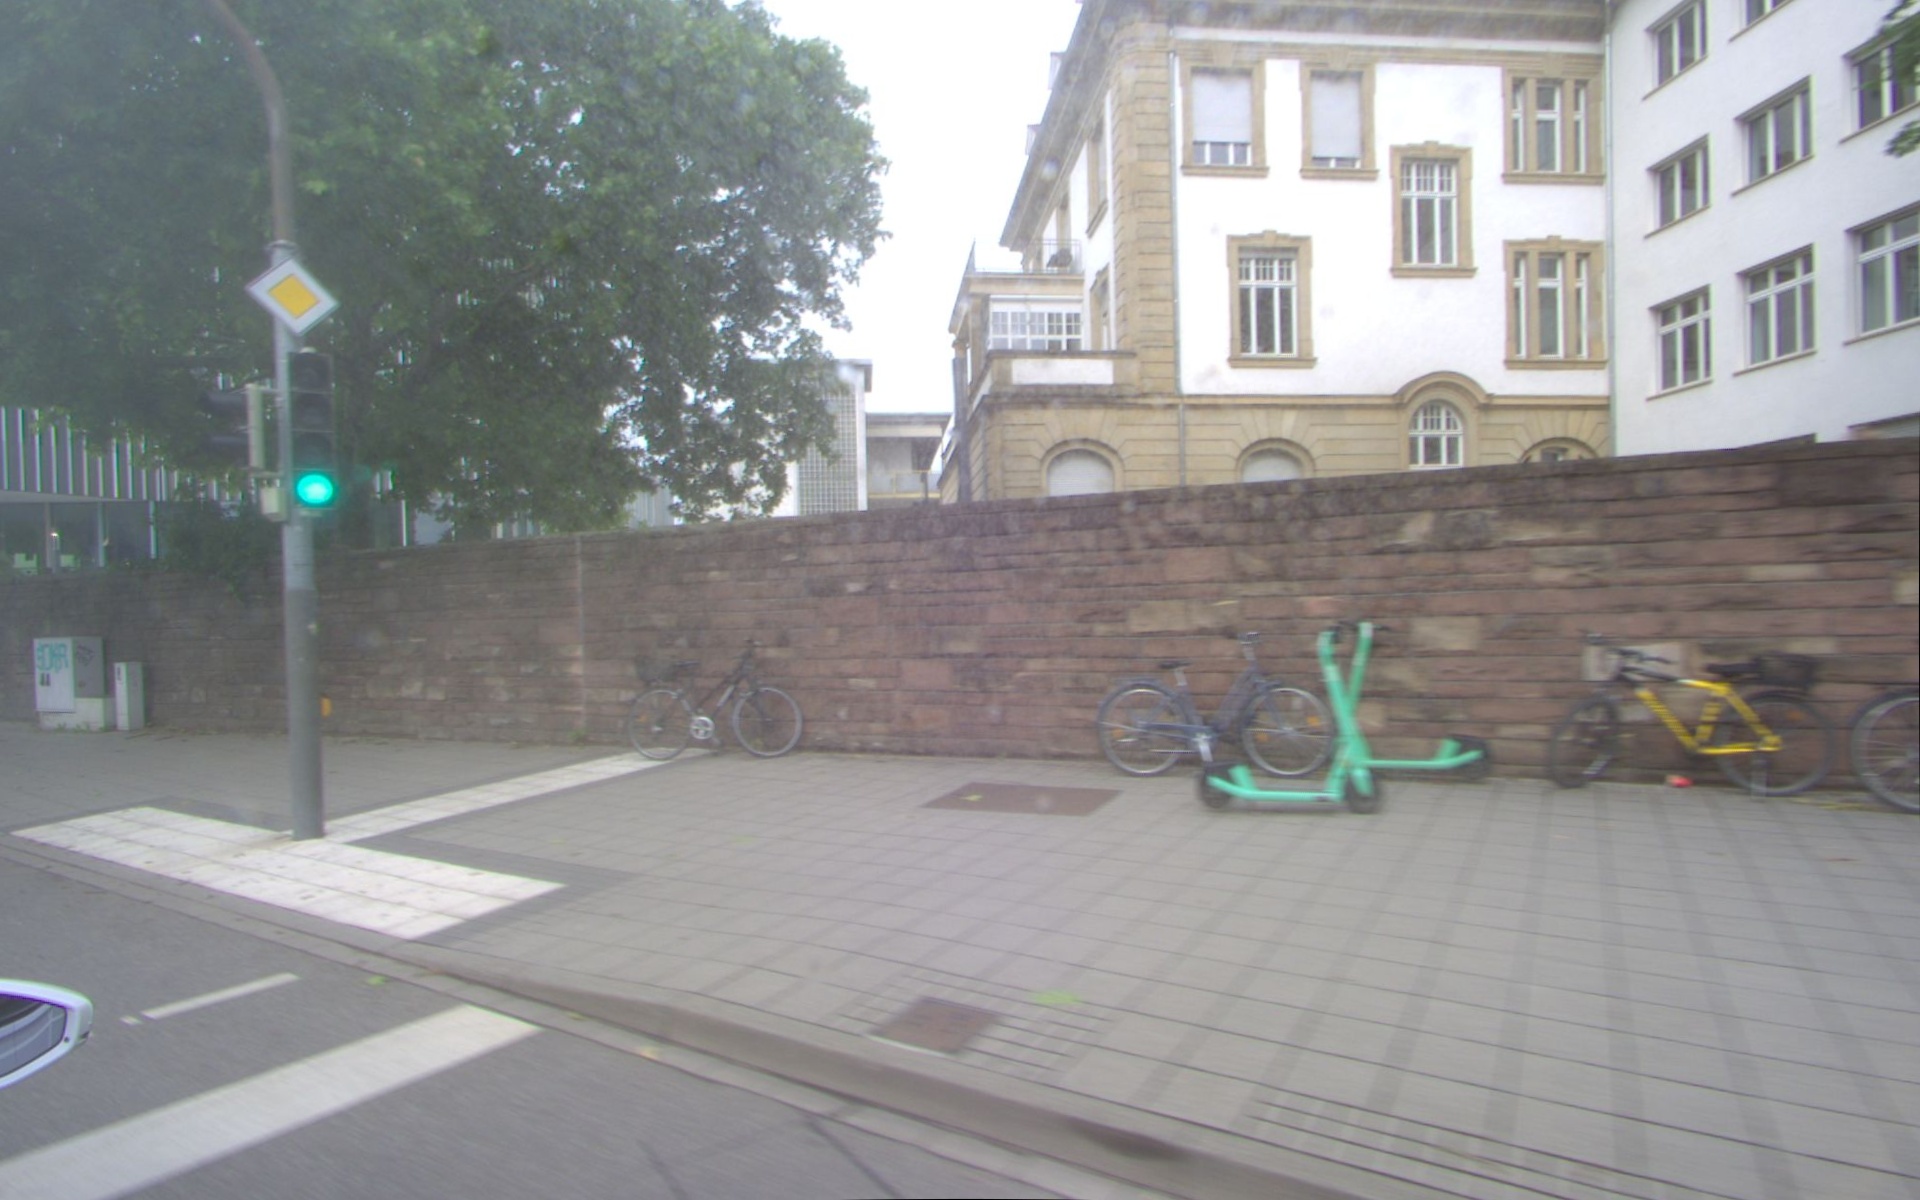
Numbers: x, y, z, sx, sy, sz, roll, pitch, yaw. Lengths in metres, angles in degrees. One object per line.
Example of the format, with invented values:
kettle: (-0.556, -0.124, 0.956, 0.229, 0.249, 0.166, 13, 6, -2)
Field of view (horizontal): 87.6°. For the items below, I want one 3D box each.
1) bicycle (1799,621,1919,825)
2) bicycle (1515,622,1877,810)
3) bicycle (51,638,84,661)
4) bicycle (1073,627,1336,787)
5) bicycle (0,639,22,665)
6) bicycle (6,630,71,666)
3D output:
bicycle: (6.056, 0.703, 5.867, 1.904, 1.158, 0.386, 0, -1, 2)
bicycle: (4.755, 0.738, 6.569, 1.905, 1.158, 0.386, -1, -1, 12)
bicycle: (-36.842, 2.039, 41.335, 0.387, 0.910, 1.470, -1, 0, -15)
bicycle: (1.841, 0.800, 7.692, 1.905, 1.158, 0.386, -1, -1, 12)
bicycle: (-39.728, 2.158, 40.910, 0.766, 1.019, 2.192, -1, 0, -1)
bicycle: (-37.862, 1.949, 41.185, 0.633, 1.324, 2.007, 0, 1, 7)
